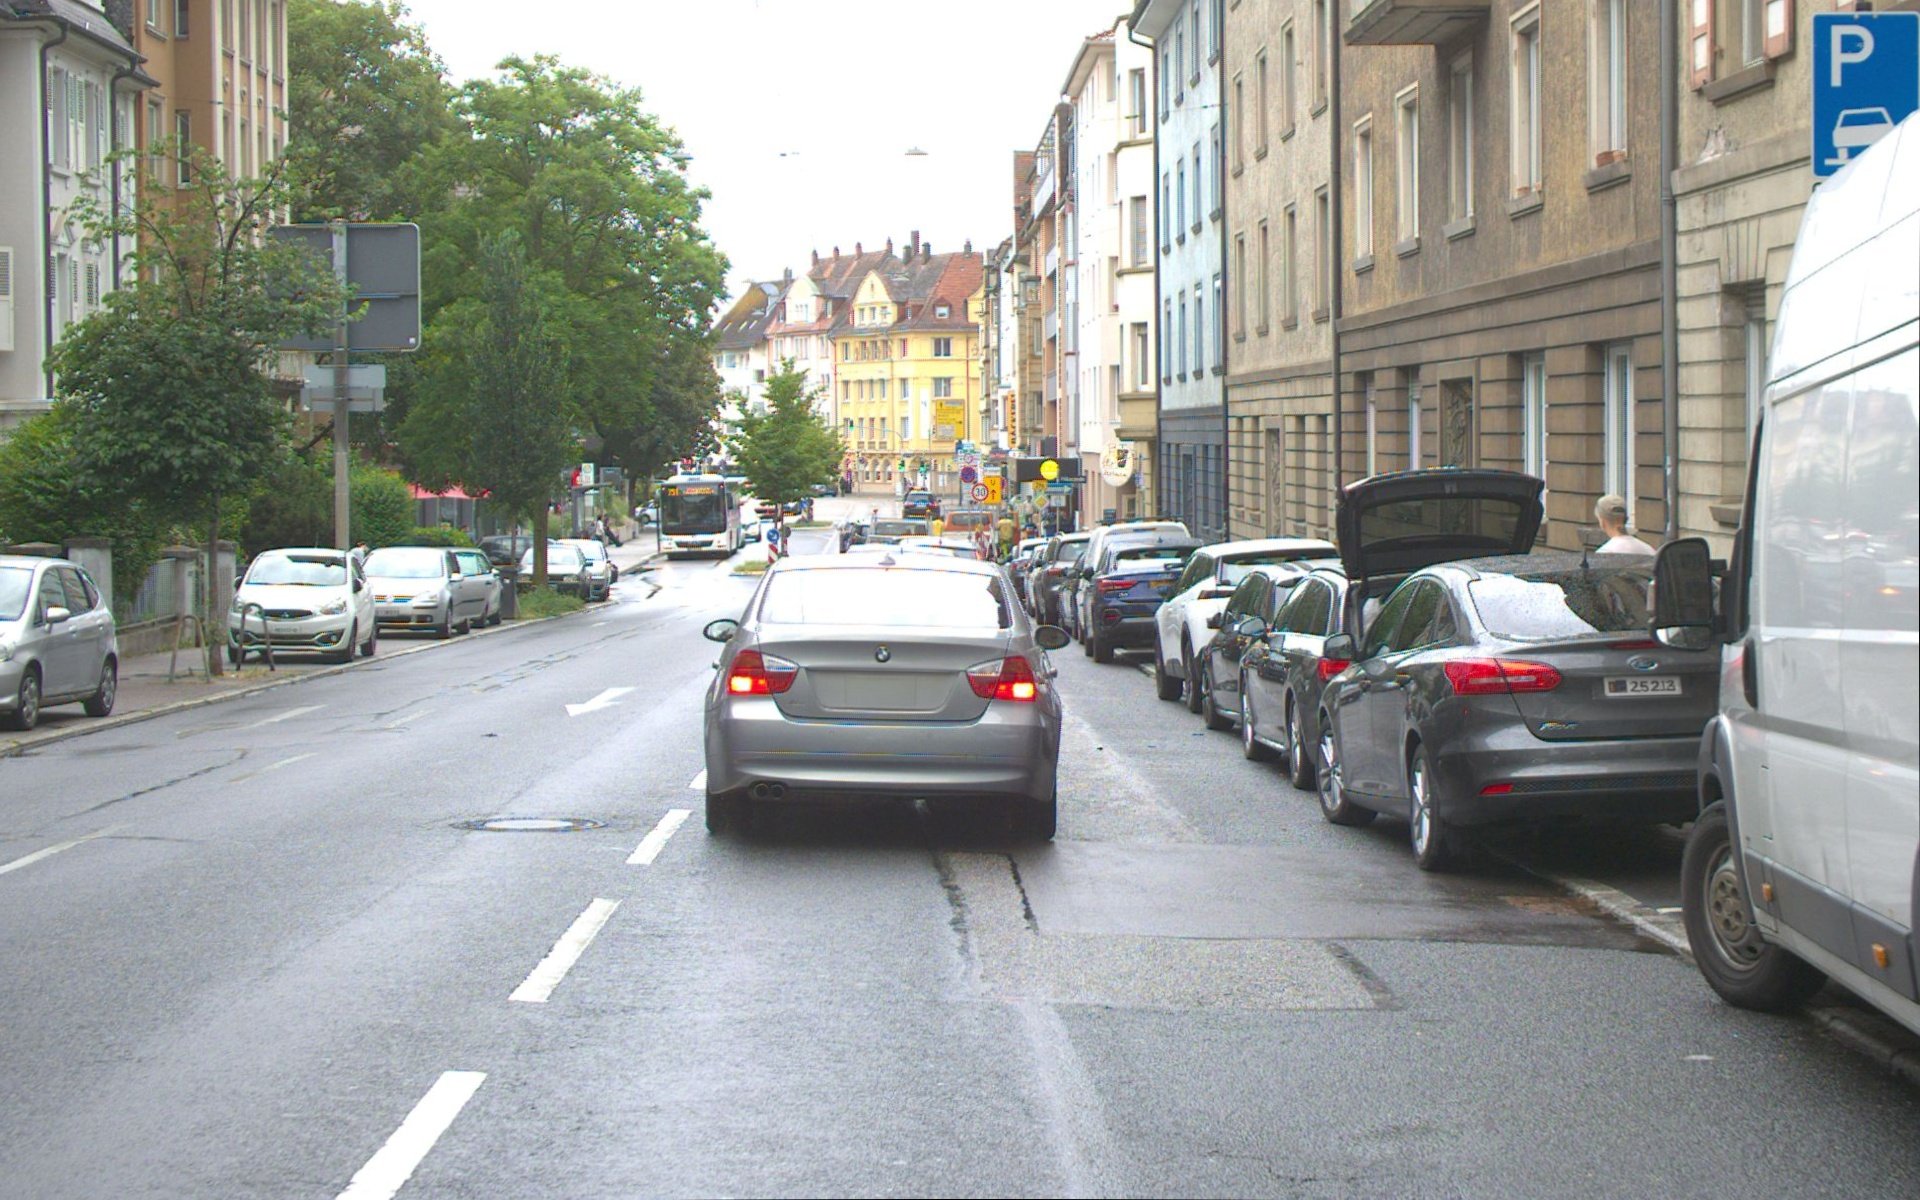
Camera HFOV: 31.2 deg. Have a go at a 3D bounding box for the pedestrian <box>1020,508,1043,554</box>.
[{"bbox_3d":[2.703,-2.596,129.430,0.750,1.655,0.754,3,0,5],"label":"pedestrian"}]

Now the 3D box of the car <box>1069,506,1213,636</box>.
[{"bbox_3d":[2.644,-0.455,51.053,1.790,1.811,4.080,-1,1,-1],"label":"car"}]

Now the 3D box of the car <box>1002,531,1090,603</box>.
[{"bbox_3d":[1.952,-0.784,78.907,1.818,1.552,4.293,-2,1,-1],"label":"car"}]

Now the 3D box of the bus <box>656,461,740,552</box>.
[{"bbox_3d":[-10.264,-3.596,135.658,2.681,3.189,11.957,3,0,-2],"label":"bus"}]

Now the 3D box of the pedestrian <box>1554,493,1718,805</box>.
[{"bbox_3d":[3.961,0.283,20.135,0.712,1.781,0.686,-2,0,29],"label":"pedestrian"}]

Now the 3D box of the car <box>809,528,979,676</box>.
[{"bbox_3d":[-0.742,0.012,36.571,1.601,1.415,3.288,3,0,-4],"label":"car"}]

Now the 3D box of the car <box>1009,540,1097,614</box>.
[{"bbox_3d":[1.906,-0.501,71.461,1.583,1.424,3.595,-3,1,-1],"label":"car"}]

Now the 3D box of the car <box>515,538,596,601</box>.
[{"bbox_3d":[-9.624,-0.756,82.024,1.653,1.449,3.943,0,1,-3],"label":"car"}]

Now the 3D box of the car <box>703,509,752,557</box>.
[{"bbox_3d":[-10.557,-3.019,156.385,1.993,2.007,4.000,3,0,-2],"label":"car"}]

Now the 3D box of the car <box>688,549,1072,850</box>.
[{"bbox_3d":[-0.409,0.458,17.625,1.756,1.358,3.165,2,0,-1],"label":"car"}]

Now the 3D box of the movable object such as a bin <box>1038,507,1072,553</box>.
[{"bbox_3d":[3.566,-2.623,129.504,1.122,1.697,1.434,-1,0,-3],"label":"movable object such as a bin"}]

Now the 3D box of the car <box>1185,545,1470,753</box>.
[{"bbox_3d":[2.863,0.336,27.475,1.632,1.473,3.735,3,1,-3],"label":"car"}]

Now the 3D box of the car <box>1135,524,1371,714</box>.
[{"bbox_3d":[2.741,0.141,32.991,1.632,1.633,4.196,3,1,-3],"label":"car"}]

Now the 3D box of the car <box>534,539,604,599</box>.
[{"bbox_3d":[-9.816,-0.792,86.430,1.631,1.449,3.840,0,1,-5],"label":"car"}]

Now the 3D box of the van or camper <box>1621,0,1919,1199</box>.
[{"bbox_3d":[3.265,0.019,9.186,2.184,2.690,6.419,-1,1,4],"label":"van or camper"}]

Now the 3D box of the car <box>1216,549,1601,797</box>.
[{"bbox_3d":[2.852,0.423,22.844,1.777,1.474,4.588,0,0,-2],"label":"car"}]

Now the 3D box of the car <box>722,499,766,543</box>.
[{"bbox_3d":[-10.793,-3.947,171.888,1.993,2.007,4.000,3,0,-2],"label":"car"}]

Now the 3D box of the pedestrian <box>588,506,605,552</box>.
[{"bbox_3d":[-13.712,-2.663,129.703,0.542,1.703,0.466,3,0,-8],"label":"pedestrian"}]

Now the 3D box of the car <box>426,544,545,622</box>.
[{"bbox_3d":[-8.797,-0.338,63.955,1.682,1.385,3.936,-1,1,-1],"label":"car"}]

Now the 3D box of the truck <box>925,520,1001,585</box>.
[{"bbox_3d":[0.075,-1.684,122.307,2.215,2.109,4.653,4,1,-4],"label":"truck"}]

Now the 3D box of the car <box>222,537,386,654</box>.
[{"bbox_3d":[-8.842,-0.064,46.572,1.645,1.503,3.797,0,0,-3],"label":"car"}]

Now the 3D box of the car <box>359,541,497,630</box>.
[{"bbox_3d":[-8.744,-0.262,56.760,1.682,1.385,3.909,1,1,-1],"label":"car"}]

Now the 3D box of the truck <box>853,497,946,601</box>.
[{"bbox_3d":[-1.611,-1.301,89.608,2.216,2.535,4.780,3,0,-2],"label":"truck"}]

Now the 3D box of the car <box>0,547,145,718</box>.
[{"bbox_3d":[-8.690,0.260,31.001,1.601,1.446,3.887,0,0,3],"label":"car"}]

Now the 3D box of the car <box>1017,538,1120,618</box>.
[{"bbox_3d":[2.086,-0.460,67.117,1.729,1.424,3.974,-3,1,-1],"label":"car"}]

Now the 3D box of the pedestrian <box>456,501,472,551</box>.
[{"bbox_3d":[-17.828,-2.659,123.492,0.464,1.783,0.545,3,0,-8],"label":"pedestrian"}]

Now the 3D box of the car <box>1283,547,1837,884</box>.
[{"bbox_3d":[2.844,0.494,17.238,1.777,1.474,4.190,0,0,-4],"label":"car"}]

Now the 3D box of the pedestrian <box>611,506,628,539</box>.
[{"bbox_3d":[-14.412,-3.276,145.455,0.619,1.373,0.544,3,0,0],"label":"pedestrian"}]

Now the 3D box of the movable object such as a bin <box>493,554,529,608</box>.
[{"bbox_3d":[-8.843,-0.369,67.757,0.630,1.054,0.600,0,0,-1],"label":"movable object such as a bin"}]

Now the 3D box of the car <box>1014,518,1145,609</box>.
[{"bbox_3d":[1.967,-0.622,57.720,1.840,1.404,4.388,-2,1,-2],"label":"car"}]

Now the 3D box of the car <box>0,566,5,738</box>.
[{"bbox_3d":[-8.492,0.424,25.939,1.600,1.392,3.888,0,0,-2],"label":"car"}]

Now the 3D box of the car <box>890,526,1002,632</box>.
[{"bbox_3d":[-0.178,-0.283,47.950,1.435,1.352,3.762,3,0,0],"label":"car"}]

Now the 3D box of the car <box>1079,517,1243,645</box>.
[{"bbox_3d":[2.554,-0.278,44.561,1.790,1.543,4.226,-1,1,-1],"label":"car"}]
